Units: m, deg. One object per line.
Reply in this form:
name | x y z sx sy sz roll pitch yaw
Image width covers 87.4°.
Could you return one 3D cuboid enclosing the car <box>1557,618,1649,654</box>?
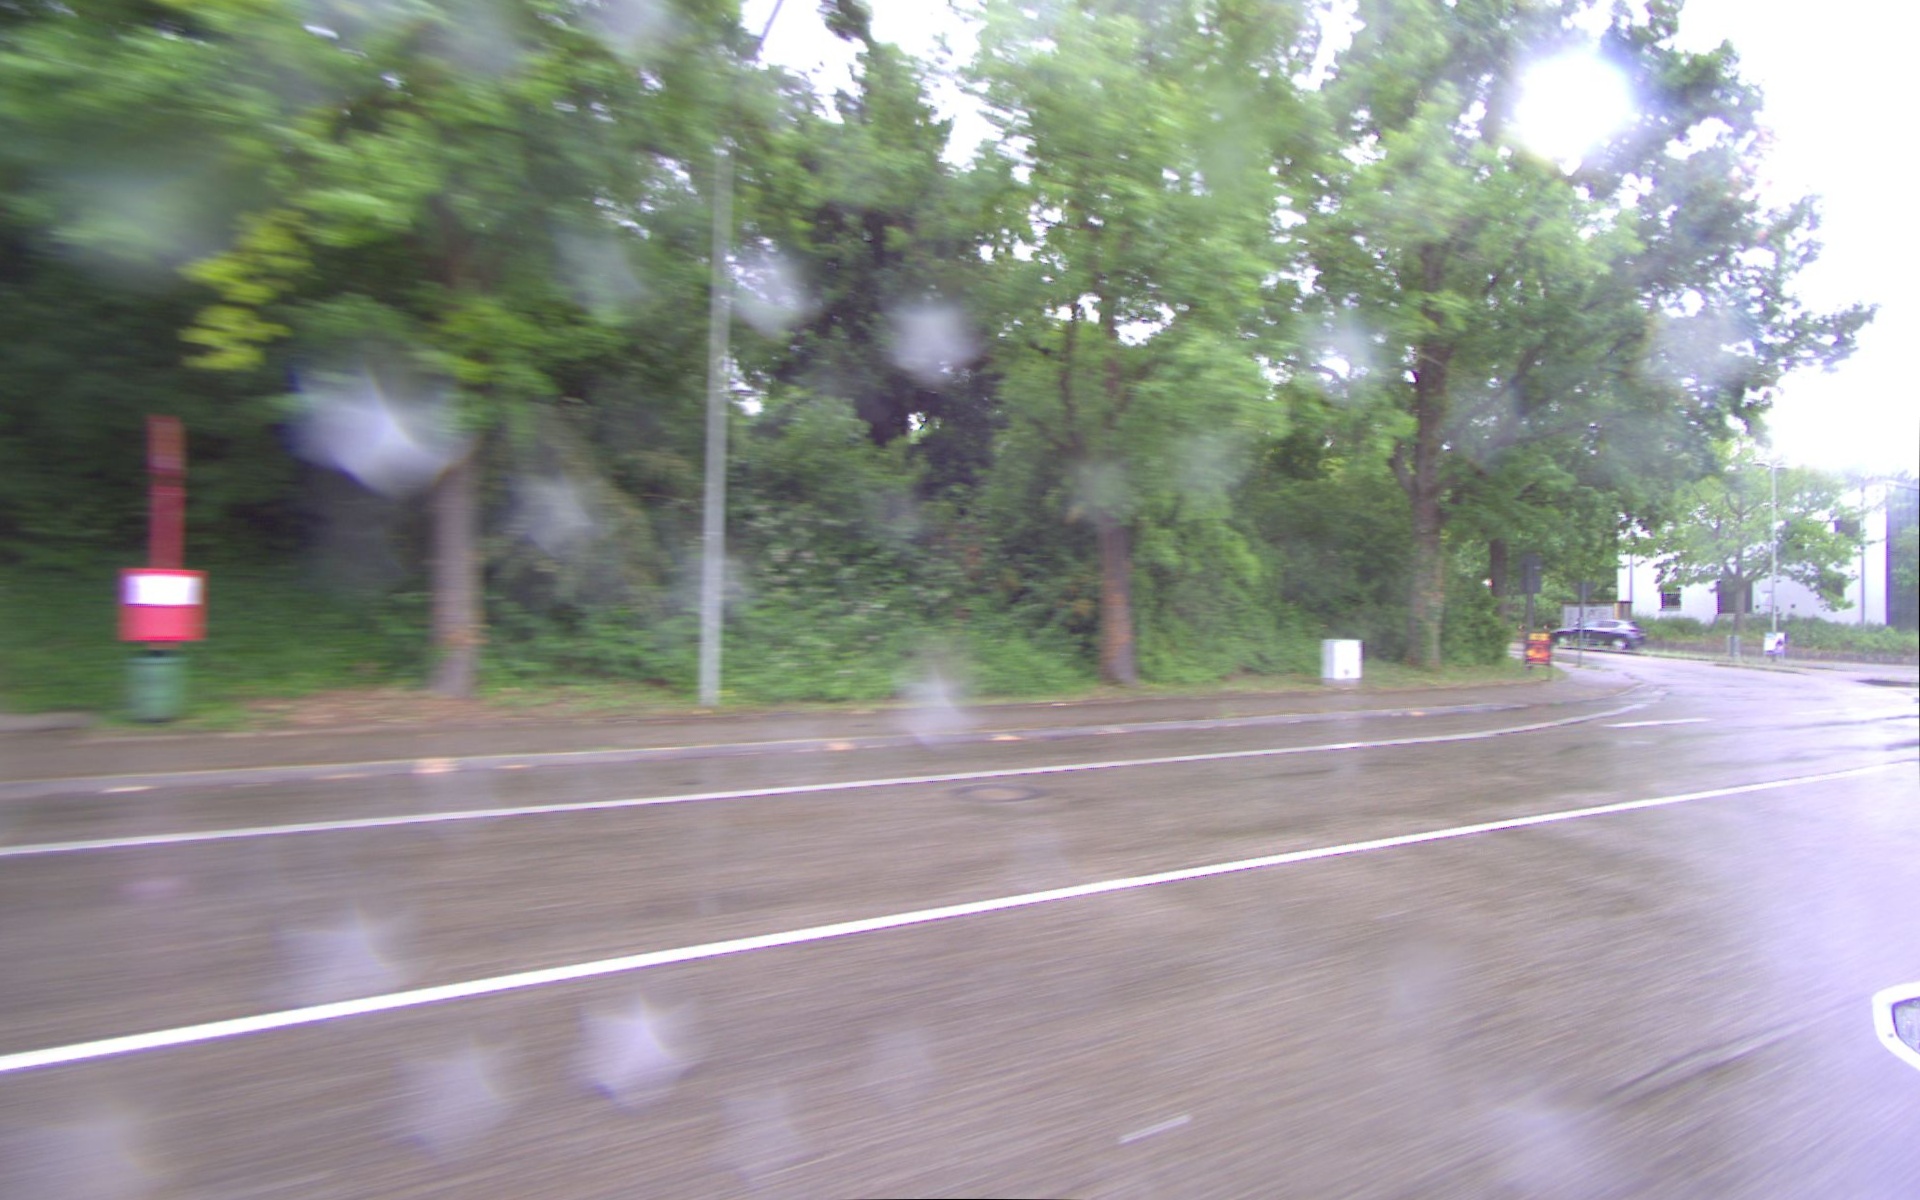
car | 35.345 1.963 55.289 1.786 1.786 3.951 1 0 -41
